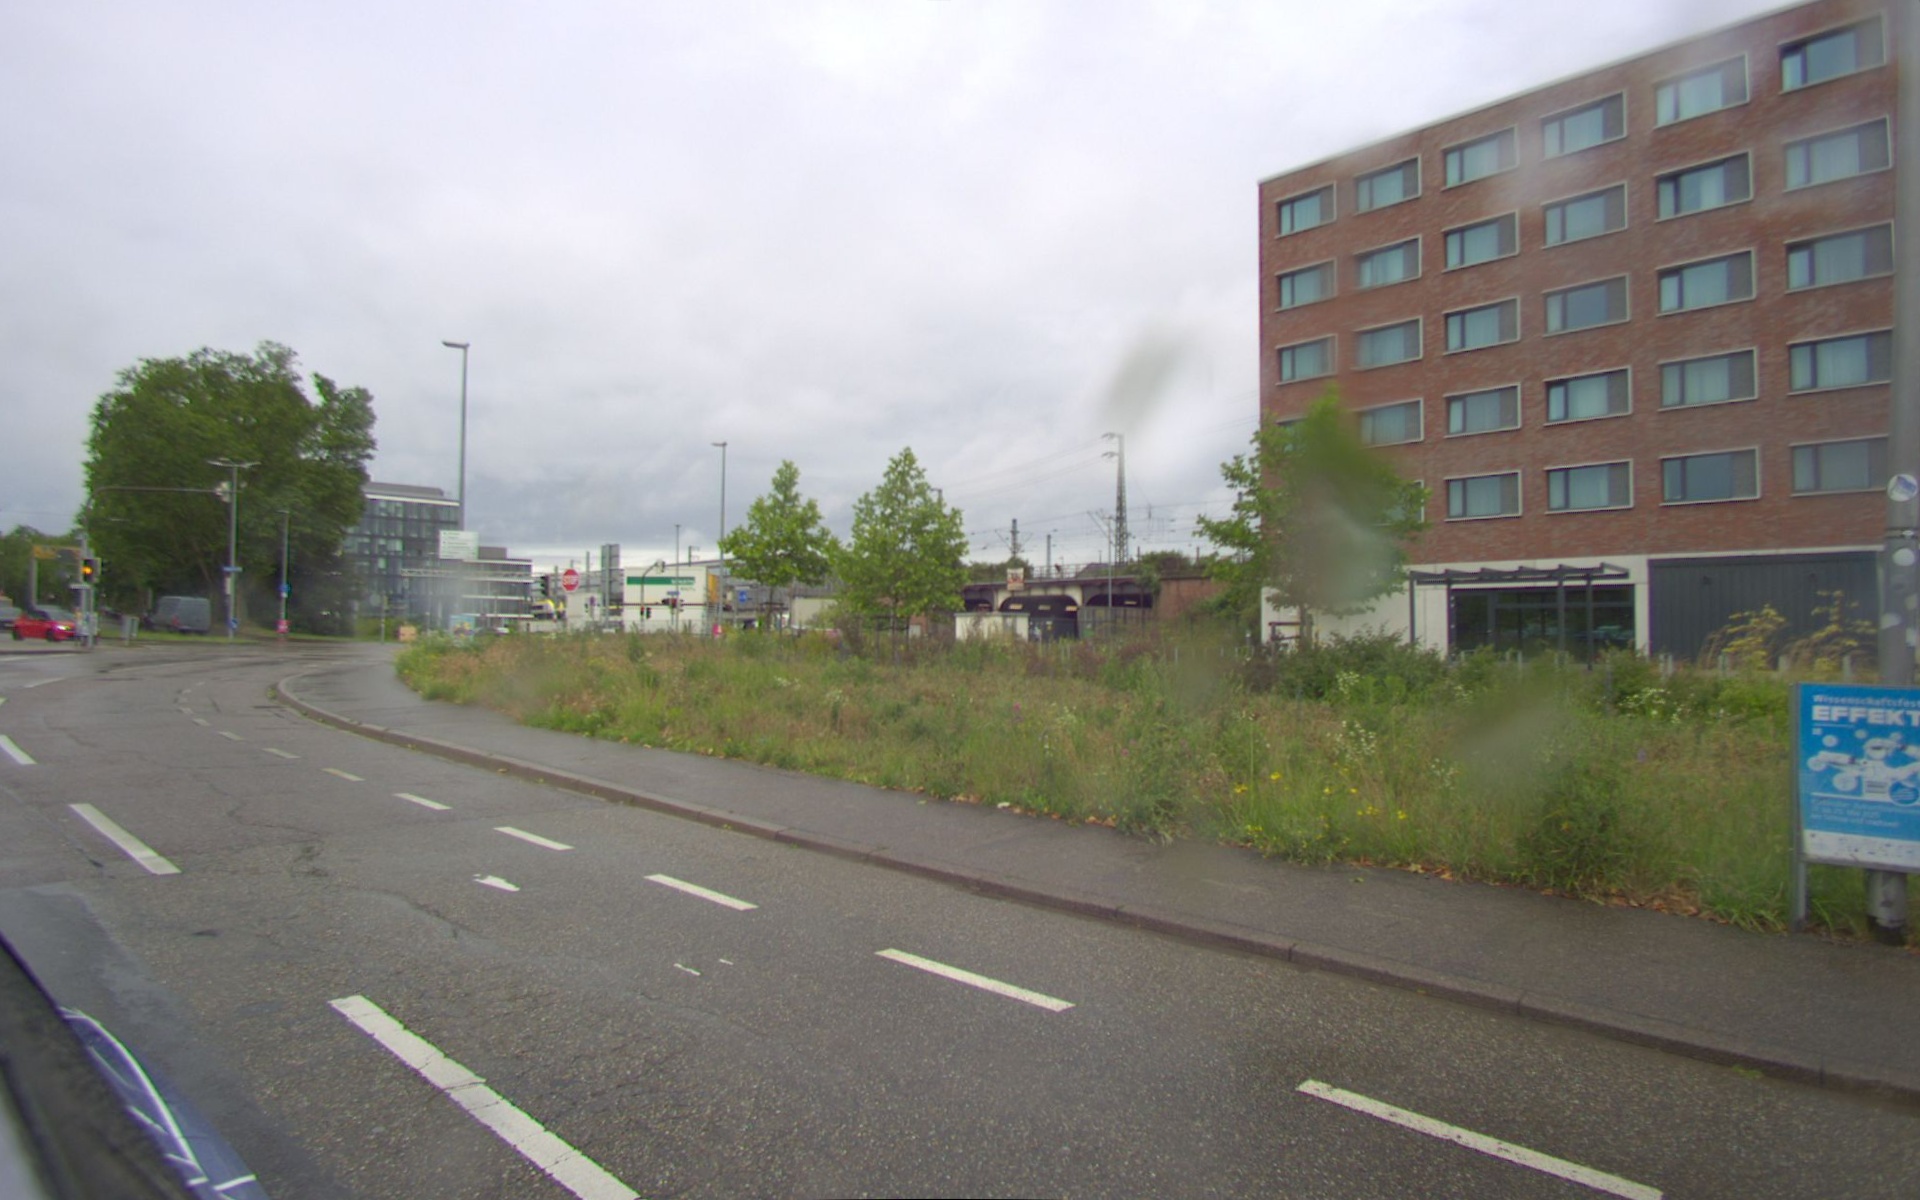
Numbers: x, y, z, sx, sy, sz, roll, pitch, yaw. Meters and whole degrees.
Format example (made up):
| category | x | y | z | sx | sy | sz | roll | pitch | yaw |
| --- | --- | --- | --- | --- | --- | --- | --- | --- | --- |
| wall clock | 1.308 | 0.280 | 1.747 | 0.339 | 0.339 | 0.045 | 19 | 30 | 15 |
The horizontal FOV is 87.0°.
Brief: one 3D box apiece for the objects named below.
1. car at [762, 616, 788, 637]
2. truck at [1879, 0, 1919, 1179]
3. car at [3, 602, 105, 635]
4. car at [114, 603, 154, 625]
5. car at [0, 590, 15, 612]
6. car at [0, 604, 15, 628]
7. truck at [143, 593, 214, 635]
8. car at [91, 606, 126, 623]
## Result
| category | x | y | z | sx | sy | sz | roll | pitch | yaw |
| --- | --- | --- | --- | --- | --- | --- | --- | --- | --- |
| car | -19.696 | 2.809 | 107.854 | 1.965 | 2.029 | 4.013 | 0 | 0 | -21 |
| truck | 4.302 | -0.870 | 0.112 | 6.028 | 4.689 | 3.261 | -1 | -2 | 40 |
| car | -39.722 | 0.804 | 44.375 | 3.971 | 1.392 | 1.732 | 0 | -1 | 21 |
| car | -62.611 | 1.098 | 76.667 | 3.526 | 1.463 | 1.628 | -3 | -4 | 39 |
| car | -75.540 | 0.044 | 79.556 | 1.827 | 1.614 | 4.504 | 1 | 0 | -44 |
| car | -56.677 | 0.931 | 59.495 | 1.620 | 1.364 | 3.779 | 2 | -2 | -43 |
| truck | -52.198 | 0.946 | 67.535 | 6.967 | 2.639 | 2.065 | 0 | -2 | 38 |
| car | -86.837 | 1.476 | 103.171 | 3.995 | 1.654 | 1.974 | 0 | -2 | 39 |
